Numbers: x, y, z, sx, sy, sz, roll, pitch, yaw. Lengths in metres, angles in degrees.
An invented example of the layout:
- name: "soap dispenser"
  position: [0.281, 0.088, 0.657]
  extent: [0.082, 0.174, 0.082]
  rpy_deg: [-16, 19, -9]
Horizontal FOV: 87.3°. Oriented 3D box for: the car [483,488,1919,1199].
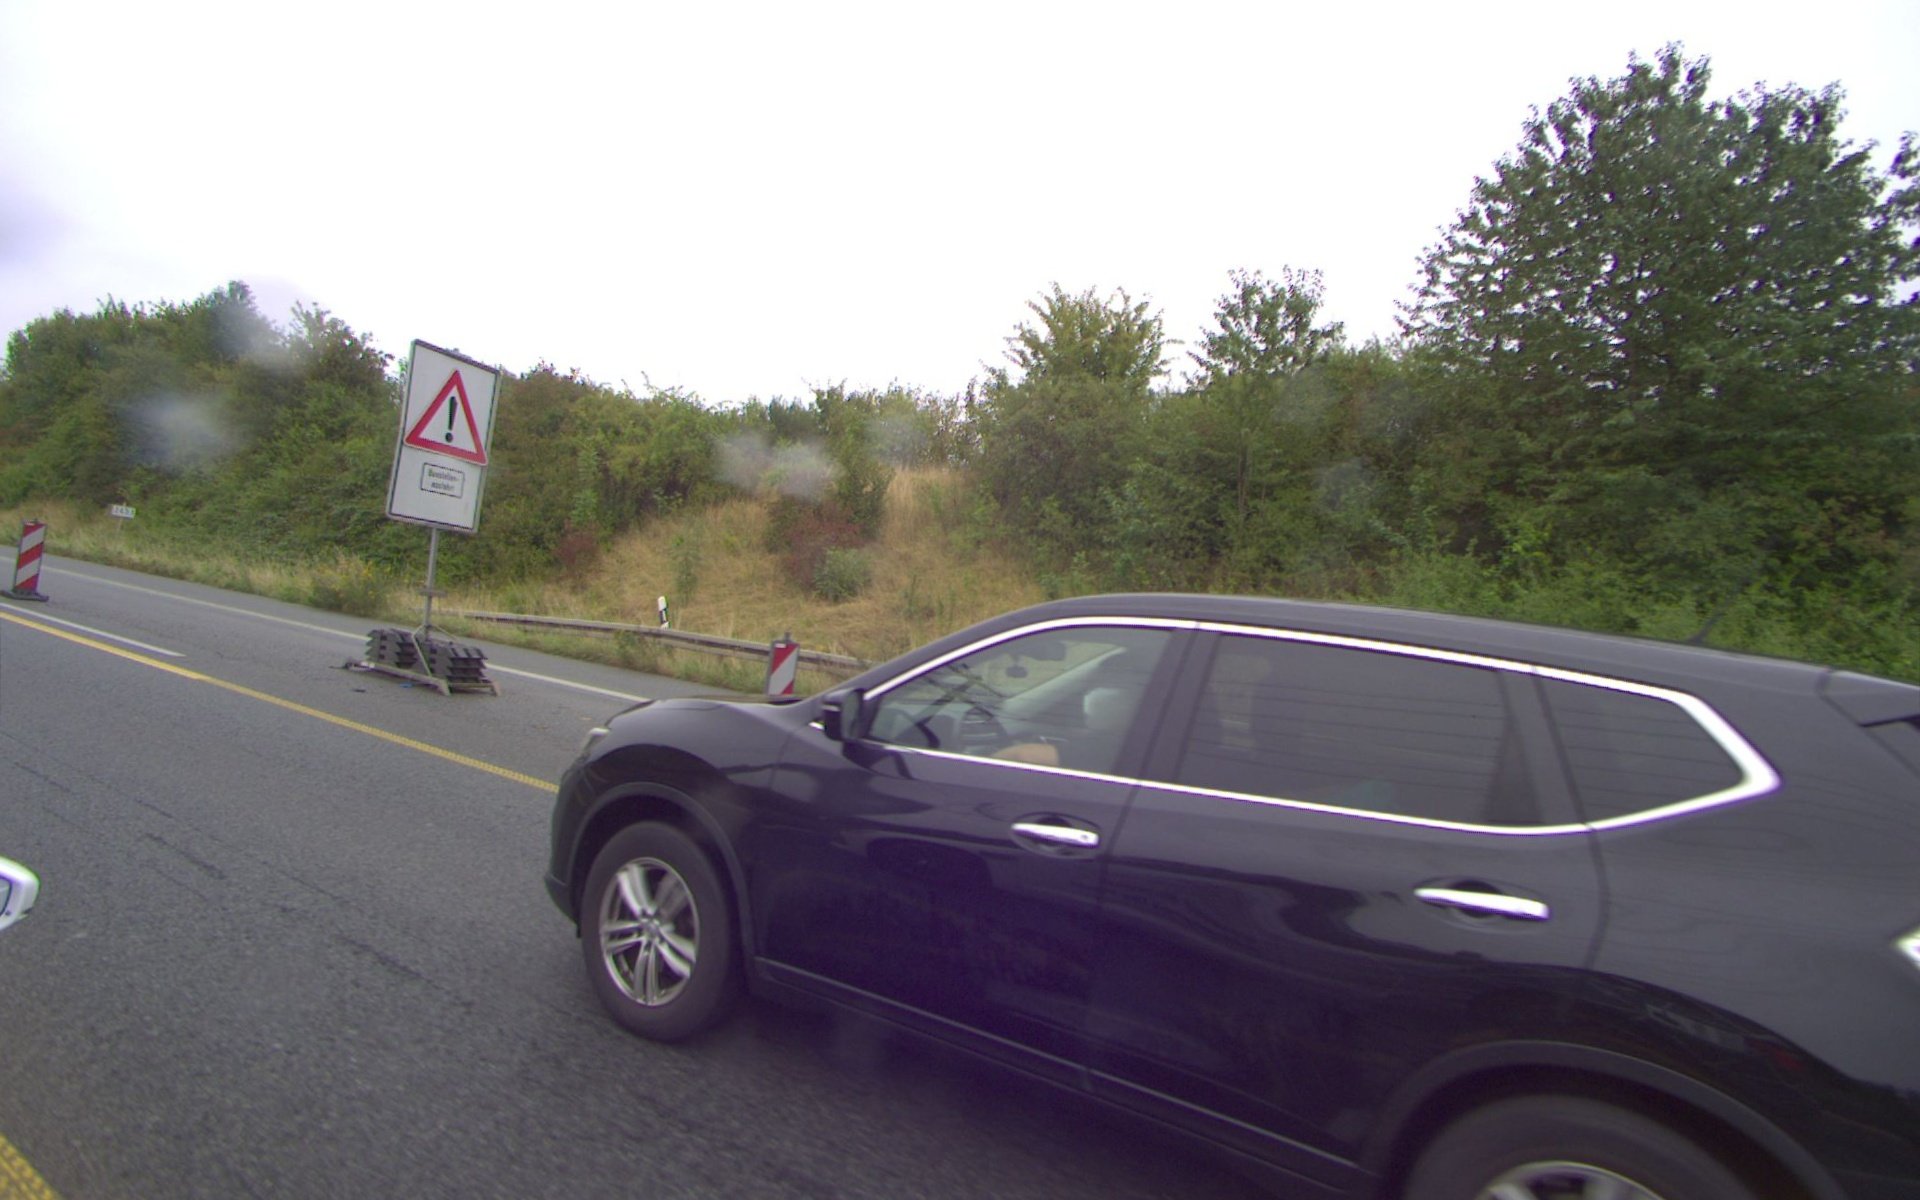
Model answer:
- name: "car"
  position: [0.603, 0.715, 3.281]
  extent: [4.208, 1.678, 1.688]
  rpy_deg: [7, -1, 30]
